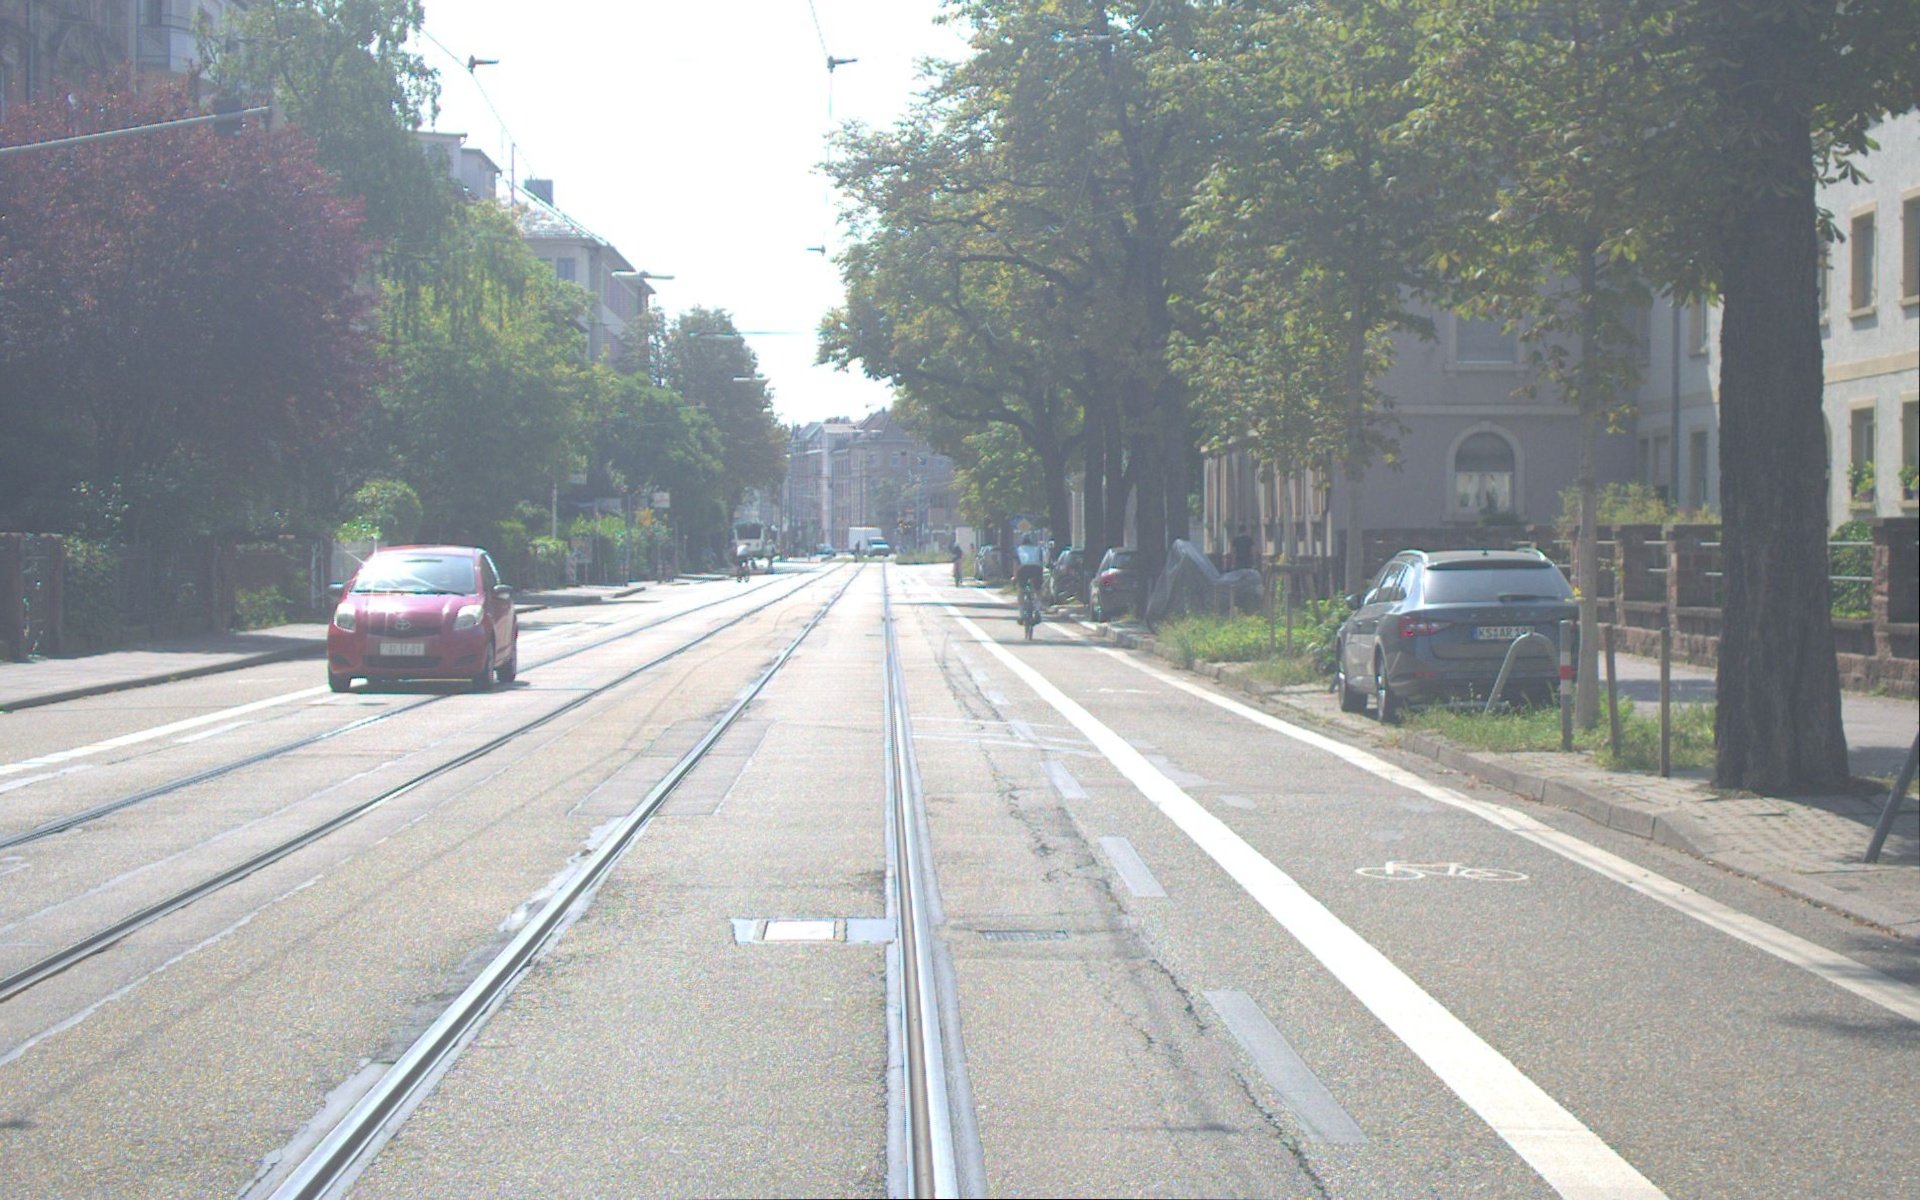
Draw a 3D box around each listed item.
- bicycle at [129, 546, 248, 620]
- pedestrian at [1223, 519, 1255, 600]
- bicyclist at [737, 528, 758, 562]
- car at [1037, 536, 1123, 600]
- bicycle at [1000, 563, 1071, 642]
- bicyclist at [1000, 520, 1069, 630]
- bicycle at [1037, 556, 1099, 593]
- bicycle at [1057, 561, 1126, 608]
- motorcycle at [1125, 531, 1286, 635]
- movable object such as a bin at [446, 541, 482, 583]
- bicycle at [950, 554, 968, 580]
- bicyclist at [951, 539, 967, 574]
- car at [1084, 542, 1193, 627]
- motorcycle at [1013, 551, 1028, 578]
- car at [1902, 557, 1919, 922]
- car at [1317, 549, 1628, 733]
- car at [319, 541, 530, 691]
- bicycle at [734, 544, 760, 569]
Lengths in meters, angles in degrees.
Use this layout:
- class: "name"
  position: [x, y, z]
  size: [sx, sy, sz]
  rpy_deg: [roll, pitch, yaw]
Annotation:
- class: "bicycle"
  position: [-12.982, -0.289, 57.885]
  size: [1.812, 1.178, 0.716]
  rpy_deg: [2, 1, 1]
- class: "pedestrian"
  position: [6.540, -0.953, 80.619]
  size: [0.706, 1.885, 0.714]
  rpy_deg: [0, 0, 0]
- class: "bicyclist"
  position: [-8.675, -2.228, 140.333]
  size: [0.759, 1.387, 0.779]
  rpy_deg: [0, 0, 4]
- class: "car"
  position: [2.998, -0.825, 86.449]
  size: [1.840, 1.527, 4.780]
  rpy_deg: [-1, 1, -2]
- class: "bicycle"
  position: [1.259, 0.024, 57.723]
  size: [1.148, 1.265, 2.712]
  rpy_deg: [0, 1, 0]
- class: "bicyclist"
  position: [1.250, -0.423, 57.785]
  size: [1.125, 1.830, 0.956]
  rpy_deg: [0, 0, 0]
- class: "bicycle"
  position: [3.026, -0.707, 96.461]
  size: [1.713, 1.028, 0.566]
  rpy_deg: [0, 1, 0]
- class: "bicycle"
  position: [3.145, -0.371, 82.060]
  size: [1.606, 1.100, 0.398]
  rpy_deg: [1, 1, 6]
- class: "motorcycle"
  position: [3.783, -0.253, 53.087]
  size: [2.344, 1.535, 0.966]
  rpy_deg: [-2, -1, 40]
- class: "movable object such as a bin"
  position: [-13.035, -1.001, 90.331]
  size: [0.786, 1.072, 0.803]
  rpy_deg: [2, 1, 2]
- class: "bicycle"
  position: [-0.039, -1.193, 125.455]
  size: [0.588, 0.936, 2.172]
  rpy_deg: [0, 0, 1]
- class: "bicyclist"
  position: [-0.043, -1.585, 125.360]
  size: [0.579, 1.274, 0.471]
  rpy_deg: [0, 0, 2]
- class: "car"
  position: [3.534, -0.330, 68.674]
  size: [1.840, 1.527, 4.116]
  rpy_deg: [0, 2, -2]
- class: "motorcycle"
  position: [2.428, -1.434, 138.191]
  size: [0.549, 1.064, 2.330]
  rpy_deg: [0, 0, -1]
- class: "car"
  position: [4.815, 0.606, 11.912]
  size: [1.755, 1.472, 4.387]
  rpy_deg: [0, 1, -2]
- class: "car"
  position: [4.417, 0.296, 30.344]
  size: [1.892, 1.472, 4.841]
  rpy_deg: [0, 1, -2]
- class: "car"
  position: [-5.667, 0.127, 36.788]
  size: [1.732, 1.485, 4.001]
  rpy_deg: [0, 1, -2]
- class: "bicycle"
  position: [-8.677, -1.768, 140.341]
  size: [0.759, 0.987, 2.298]
  rpy_deg: [0, 0, 4]
